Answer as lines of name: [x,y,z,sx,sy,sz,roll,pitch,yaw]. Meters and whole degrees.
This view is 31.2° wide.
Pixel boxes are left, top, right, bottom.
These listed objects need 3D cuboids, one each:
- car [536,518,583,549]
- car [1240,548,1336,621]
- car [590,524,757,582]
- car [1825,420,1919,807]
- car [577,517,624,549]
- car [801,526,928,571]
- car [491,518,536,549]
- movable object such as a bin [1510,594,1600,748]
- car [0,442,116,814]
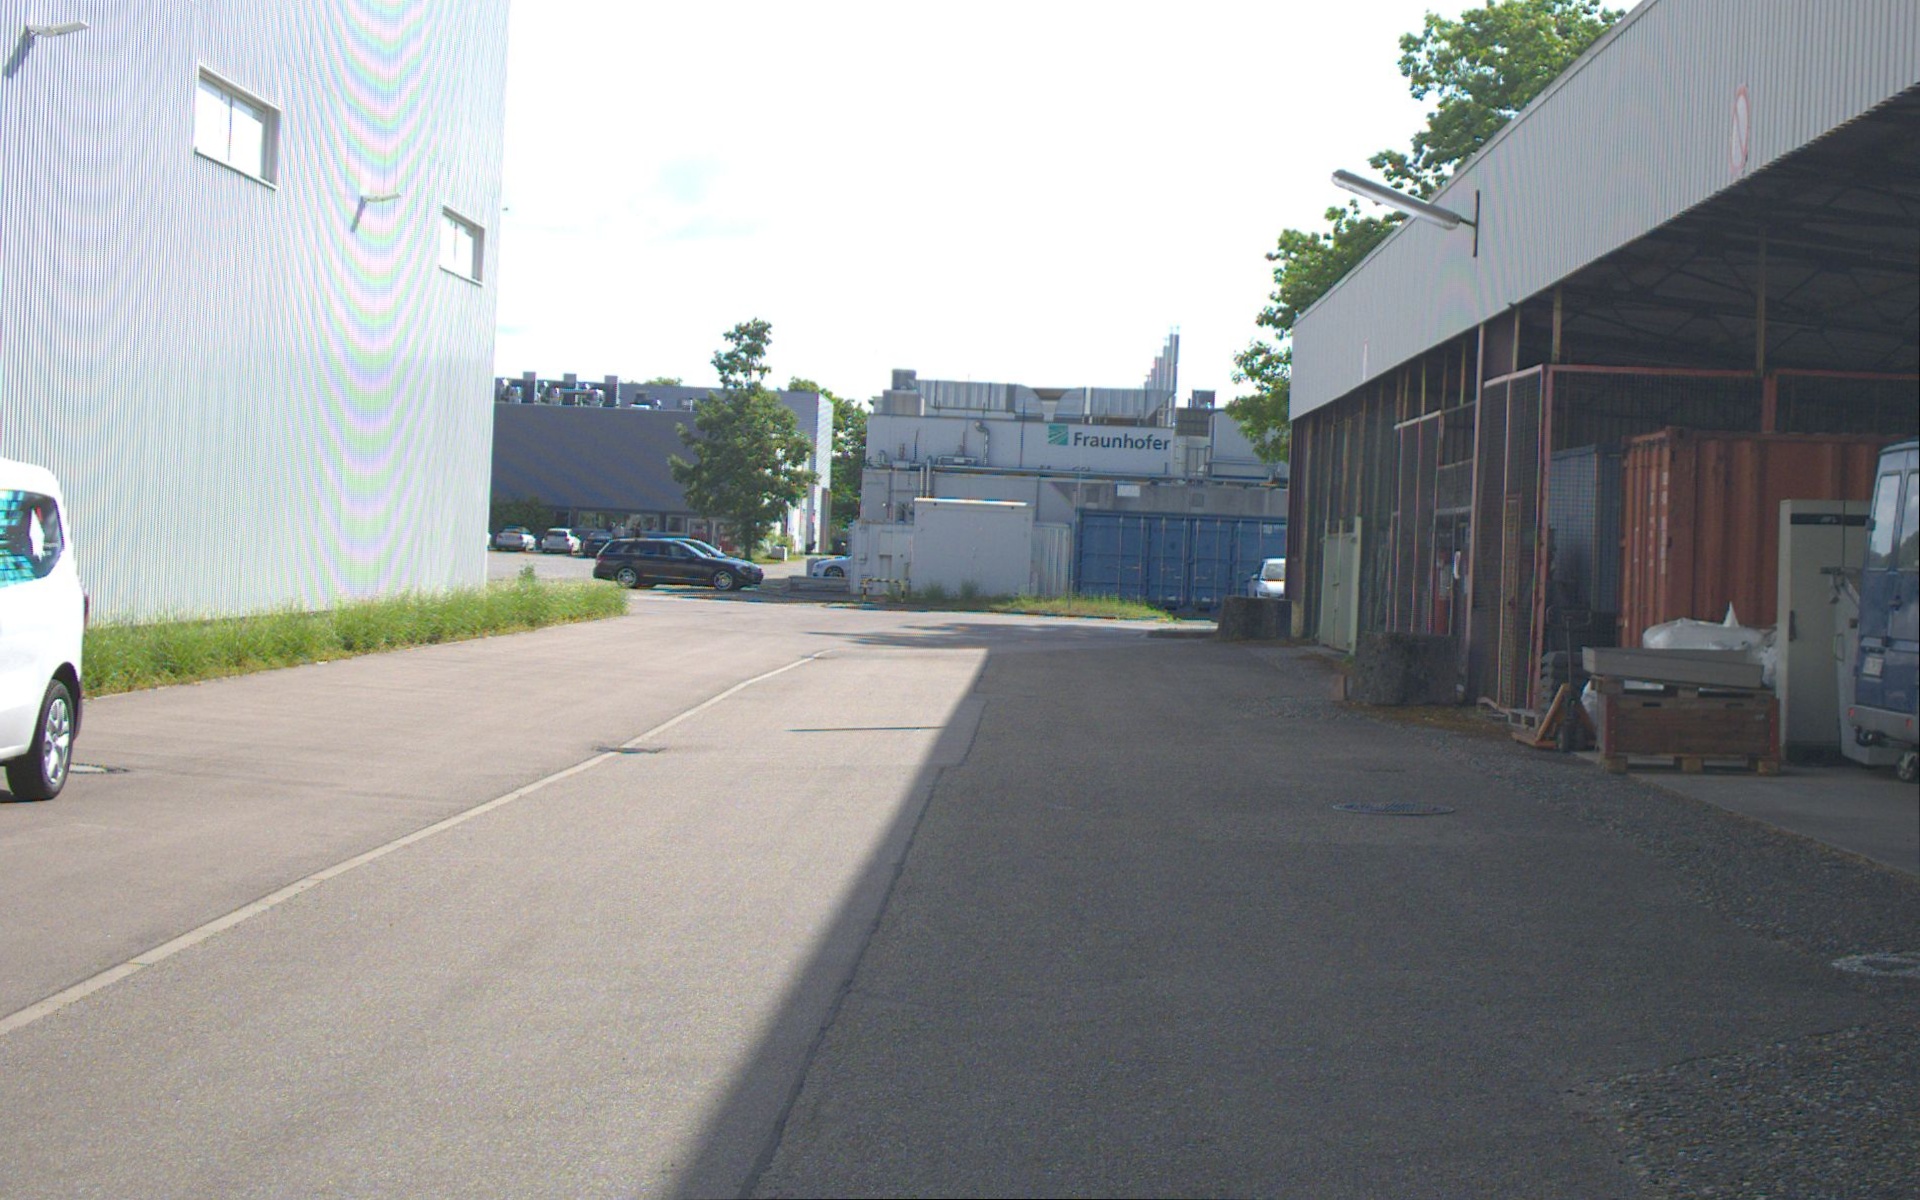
car: [-22.875,-3.794,196.444,2.193,1.730,4.000,1,1,1]
car: [8.145,-0.407,85.742,1.993,1.580,4.173,2,2,1]
car: [-8.220,-1.357,98.919,4.526,1.503,1.909,2,1,3]
car: [8.186,0.154,21.529,4.979,2.317,2.000,2,1,2]
car: [-20.353,-3.773,194.667,2.193,1.730,4.000,1,1,1]
car: [-3.494,-1.895,126.399,4.526,1.503,1.909,2,1,2]
car: [-25.468,-3.795,196.167,1.993,1.730,4.000,1,1,1]
movable object such as a bin: [4.718,0.553,27.308,0.582,1.160,1.238,2,1,5]
car: [-5.656,0.081,16.654,1.890,1.839,4.358,4,1,1]
